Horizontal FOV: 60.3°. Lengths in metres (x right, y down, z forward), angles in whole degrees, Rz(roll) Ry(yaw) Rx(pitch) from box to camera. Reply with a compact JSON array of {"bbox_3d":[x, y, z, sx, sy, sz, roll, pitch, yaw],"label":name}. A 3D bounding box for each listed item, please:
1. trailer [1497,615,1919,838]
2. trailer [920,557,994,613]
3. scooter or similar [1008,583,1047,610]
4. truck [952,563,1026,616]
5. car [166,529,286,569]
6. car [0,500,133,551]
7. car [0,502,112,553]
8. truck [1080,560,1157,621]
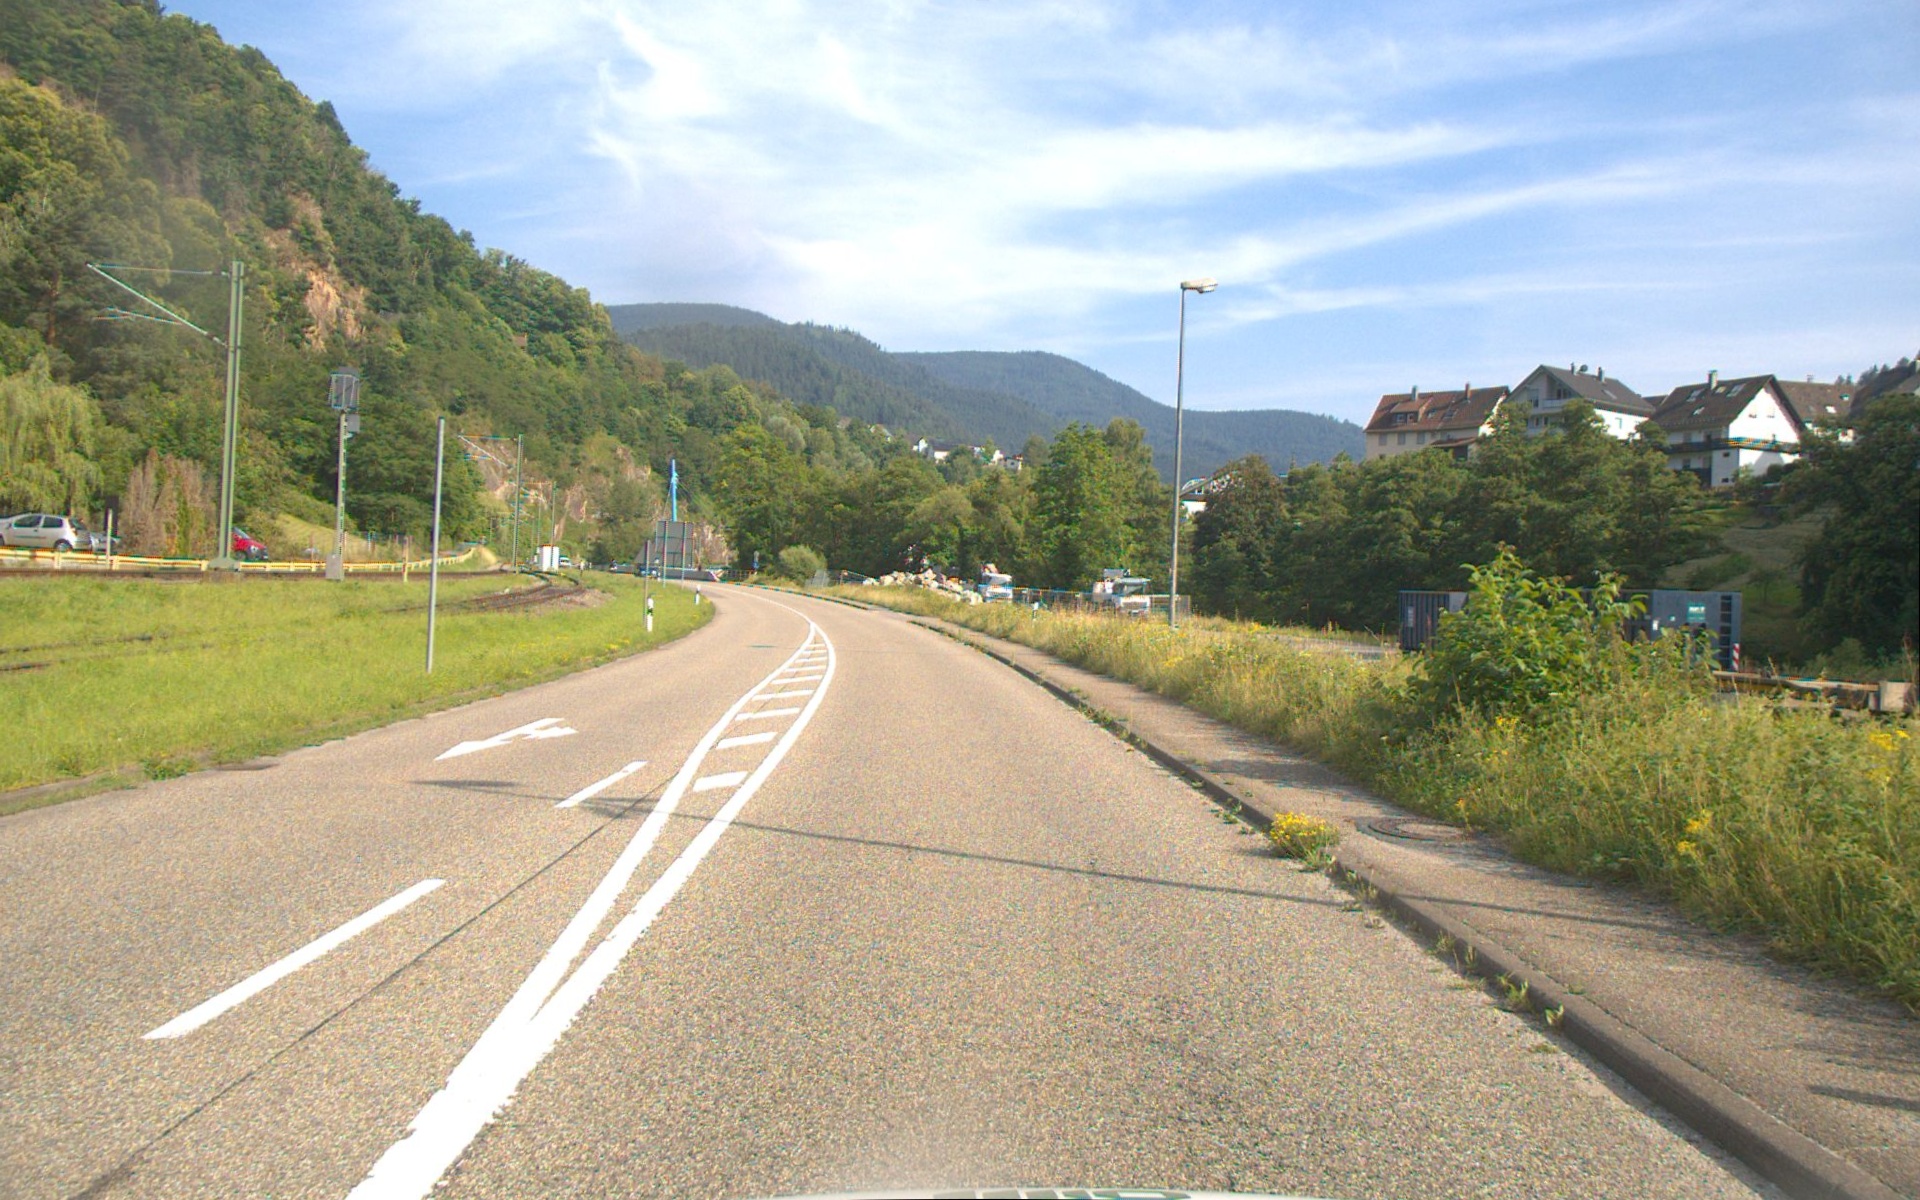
[{"bbox_3d":[8.360,1.089,15.815,2.737,1.499,9.882,5,0,-3],"label":"trailer"},{"bbox_3d":[-0.374,-1.294,139.464,3.312,4.348,9.862,3,0,-17],"label":"trailer"},{"bbox_3d":[5.295,-0.281,130.226,1.960,2.049,3.985,1,1,-14],"label":"scooter or similar"},{"bbox_3d":[2.211,-0.895,130.625,3.054,3.847,8.603,3,0,-17],"label":"truck"},{"bbox_3d":[-36.787,-2.555,83.006,4.865,1.721,2.455,3,0,-2],"label":"car"},{"bbox_3d":[-35.216,-2.916,65.288,4.064,1.721,1.998,3,0,-5],"label":"car"},{"bbox_3d":[-34.892,-2.772,62.979,4.064,1.721,1.998,3,0,-5],"label":"car"},{"bbox_3d":[10.845,-0.675,114.110,3.046,3.847,8.628,3,0,-9],"label":"truck"}]
